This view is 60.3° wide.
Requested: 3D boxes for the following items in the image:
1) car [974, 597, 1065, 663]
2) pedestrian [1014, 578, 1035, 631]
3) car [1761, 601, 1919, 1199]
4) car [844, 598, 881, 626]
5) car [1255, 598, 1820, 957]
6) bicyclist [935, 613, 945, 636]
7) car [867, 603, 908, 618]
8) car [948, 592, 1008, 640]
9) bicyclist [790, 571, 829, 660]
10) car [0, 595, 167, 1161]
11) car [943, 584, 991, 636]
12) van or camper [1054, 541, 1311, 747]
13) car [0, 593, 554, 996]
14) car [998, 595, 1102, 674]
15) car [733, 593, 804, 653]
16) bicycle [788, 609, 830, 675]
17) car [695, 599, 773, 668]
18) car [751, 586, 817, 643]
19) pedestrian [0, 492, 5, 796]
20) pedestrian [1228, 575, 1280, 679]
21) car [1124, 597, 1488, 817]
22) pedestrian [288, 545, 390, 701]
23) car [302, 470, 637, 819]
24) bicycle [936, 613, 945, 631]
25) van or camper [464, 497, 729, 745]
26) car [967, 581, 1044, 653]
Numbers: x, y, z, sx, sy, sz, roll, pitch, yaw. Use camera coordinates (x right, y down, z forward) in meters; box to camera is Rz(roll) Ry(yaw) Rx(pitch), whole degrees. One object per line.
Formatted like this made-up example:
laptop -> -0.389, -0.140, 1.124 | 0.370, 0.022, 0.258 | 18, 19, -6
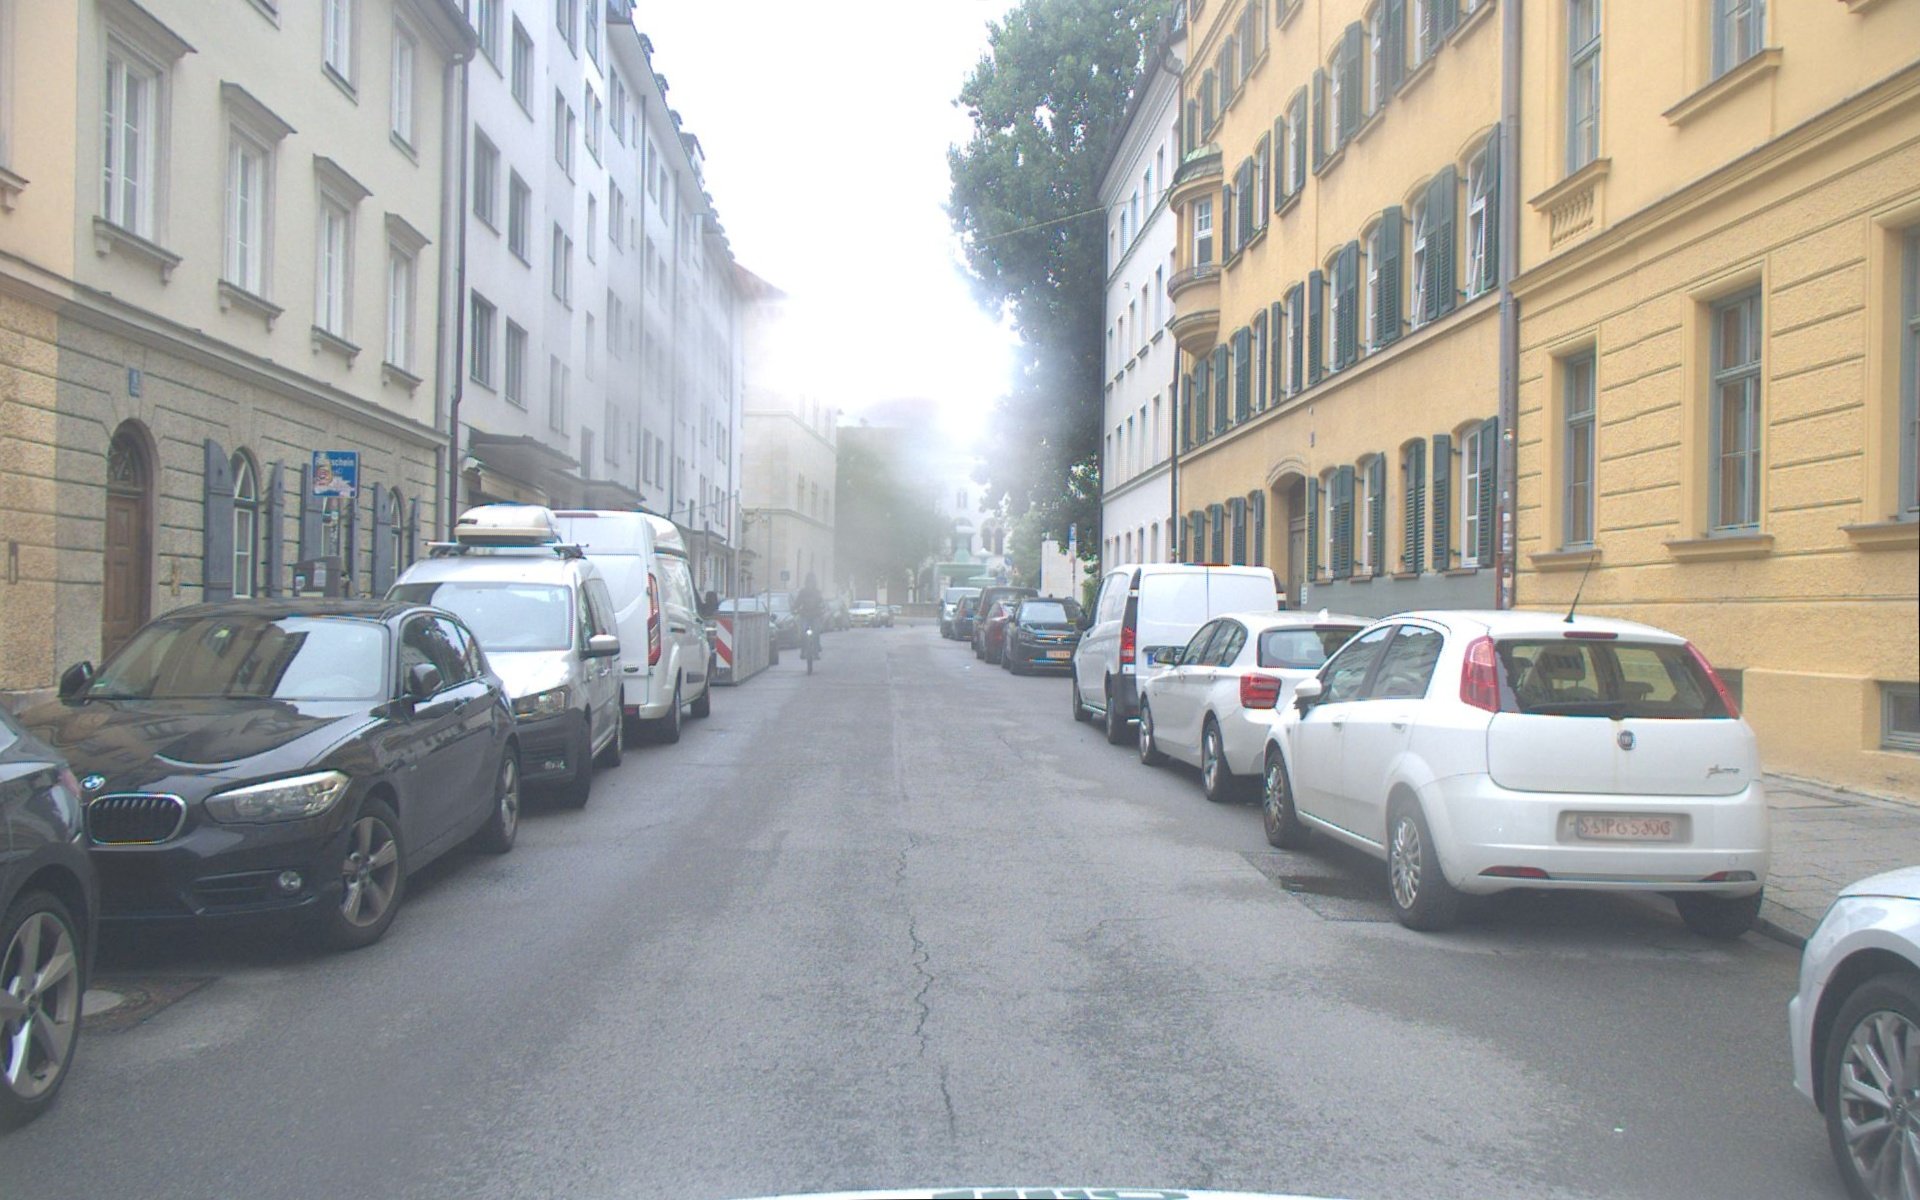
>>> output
car -> 1.349, 0.680, 39.075 | 1.679, 1.449, 4.454 | 1, 0, -4
pedestrian -> 2.741, 0.187, 70.386 | 0.777, 2.236, 0.813 | 1, 0, -3
car -> 3.169, 0.789, 2.406 | 1.682, 1.536, 4.466 | 1, 0, -3
car -> -5.582, 0.726, 94.957 | 1.741, 1.562, 4.212 | -1, -1, 2
car -> 2.850, 0.769, 9.050 | 1.591, 1.536, 3.759 | 1, 0, -3
bicyclist -> -1.372, 1.703, 114.669 | 0.643, 1.578, 0.887 | 0, -1, 0
car -> -7.158, 1.005, 163.850 | 3.904, 1.400, 2.000 | 1, 0, 1
car -> 0.610, 0.551, 59.920 | 1.772, 1.628, 4.211 | 2, 0, -4
bicyclist -> -2.841, 0.286, 31.363 | 0.673, 1.655, 0.852 | 1, 0, -4
car -> -3.224, 0.695, 3.001 | 1.821, 1.426, 4.264 | 1, 0, -6
car -> 0.250, 0.400, 65.975 | 1.844, 1.958, 4.874 | 1, 0, -1
van or camper -> 2.384, 0.431, 19.174 | 1.954, 2.049, 5.229 | 1, 0, -4
car -> -3.296, 0.705, 8.105 | 1.821, 1.426, 4.265 | 1, 0, -4
car -> 1.772, 0.653, 33.640 | 1.711, 1.489, 3.998 | 1, 0, -3
car -> -5.385, 0.617, 46.862 | 1.738, 1.566, 4.156 | -1, 1, -3
bicycle -> -2.836, 0.780, 31.257 | 0.718, 1.171, 1.998 | 1, 0, -4
car -> -5.043, 0.702, 36.631 | 1.608, 1.378, 4.050 | -1, 1, -9
car -> -5.538, 0.427, 52.493 | 1.835, 1.717, 4.517 | -1, 1, -3
pedestrian -> -6.849, 0.293, 10.783 | 0.789, 2.049, 0.750 | 1, 0, -2
pedestrian -> 4.859, 0.436, 27.353 | 0.585, 1.667, 0.895 | -2, 0, -5
car -> 2.679, 0.754, 13.969 | 1.780, 1.536, 4.583 | 1, 0, -5
pedestrian -> -7.159, 0.256, 19.103 | 0.789, 1.741, 1.021 | 1, 0, -1
car -> -3.626, 0.290, 13.045 | 1.822, 2.240, 4.553 | 1, 0, -8
bicycle -> -1.362, 1.533, 114.699 | 0.635, 1.218, 1.950 | 0, 0, 0
van or camper -> -3.861, 0.194, 18.582 | 1.953, 2.351, 5.476 | 1, 0, -3
car -> 1.218, 0.475, 45.800 | 1.809, 1.807, 4.199 | 3, -1, -2
